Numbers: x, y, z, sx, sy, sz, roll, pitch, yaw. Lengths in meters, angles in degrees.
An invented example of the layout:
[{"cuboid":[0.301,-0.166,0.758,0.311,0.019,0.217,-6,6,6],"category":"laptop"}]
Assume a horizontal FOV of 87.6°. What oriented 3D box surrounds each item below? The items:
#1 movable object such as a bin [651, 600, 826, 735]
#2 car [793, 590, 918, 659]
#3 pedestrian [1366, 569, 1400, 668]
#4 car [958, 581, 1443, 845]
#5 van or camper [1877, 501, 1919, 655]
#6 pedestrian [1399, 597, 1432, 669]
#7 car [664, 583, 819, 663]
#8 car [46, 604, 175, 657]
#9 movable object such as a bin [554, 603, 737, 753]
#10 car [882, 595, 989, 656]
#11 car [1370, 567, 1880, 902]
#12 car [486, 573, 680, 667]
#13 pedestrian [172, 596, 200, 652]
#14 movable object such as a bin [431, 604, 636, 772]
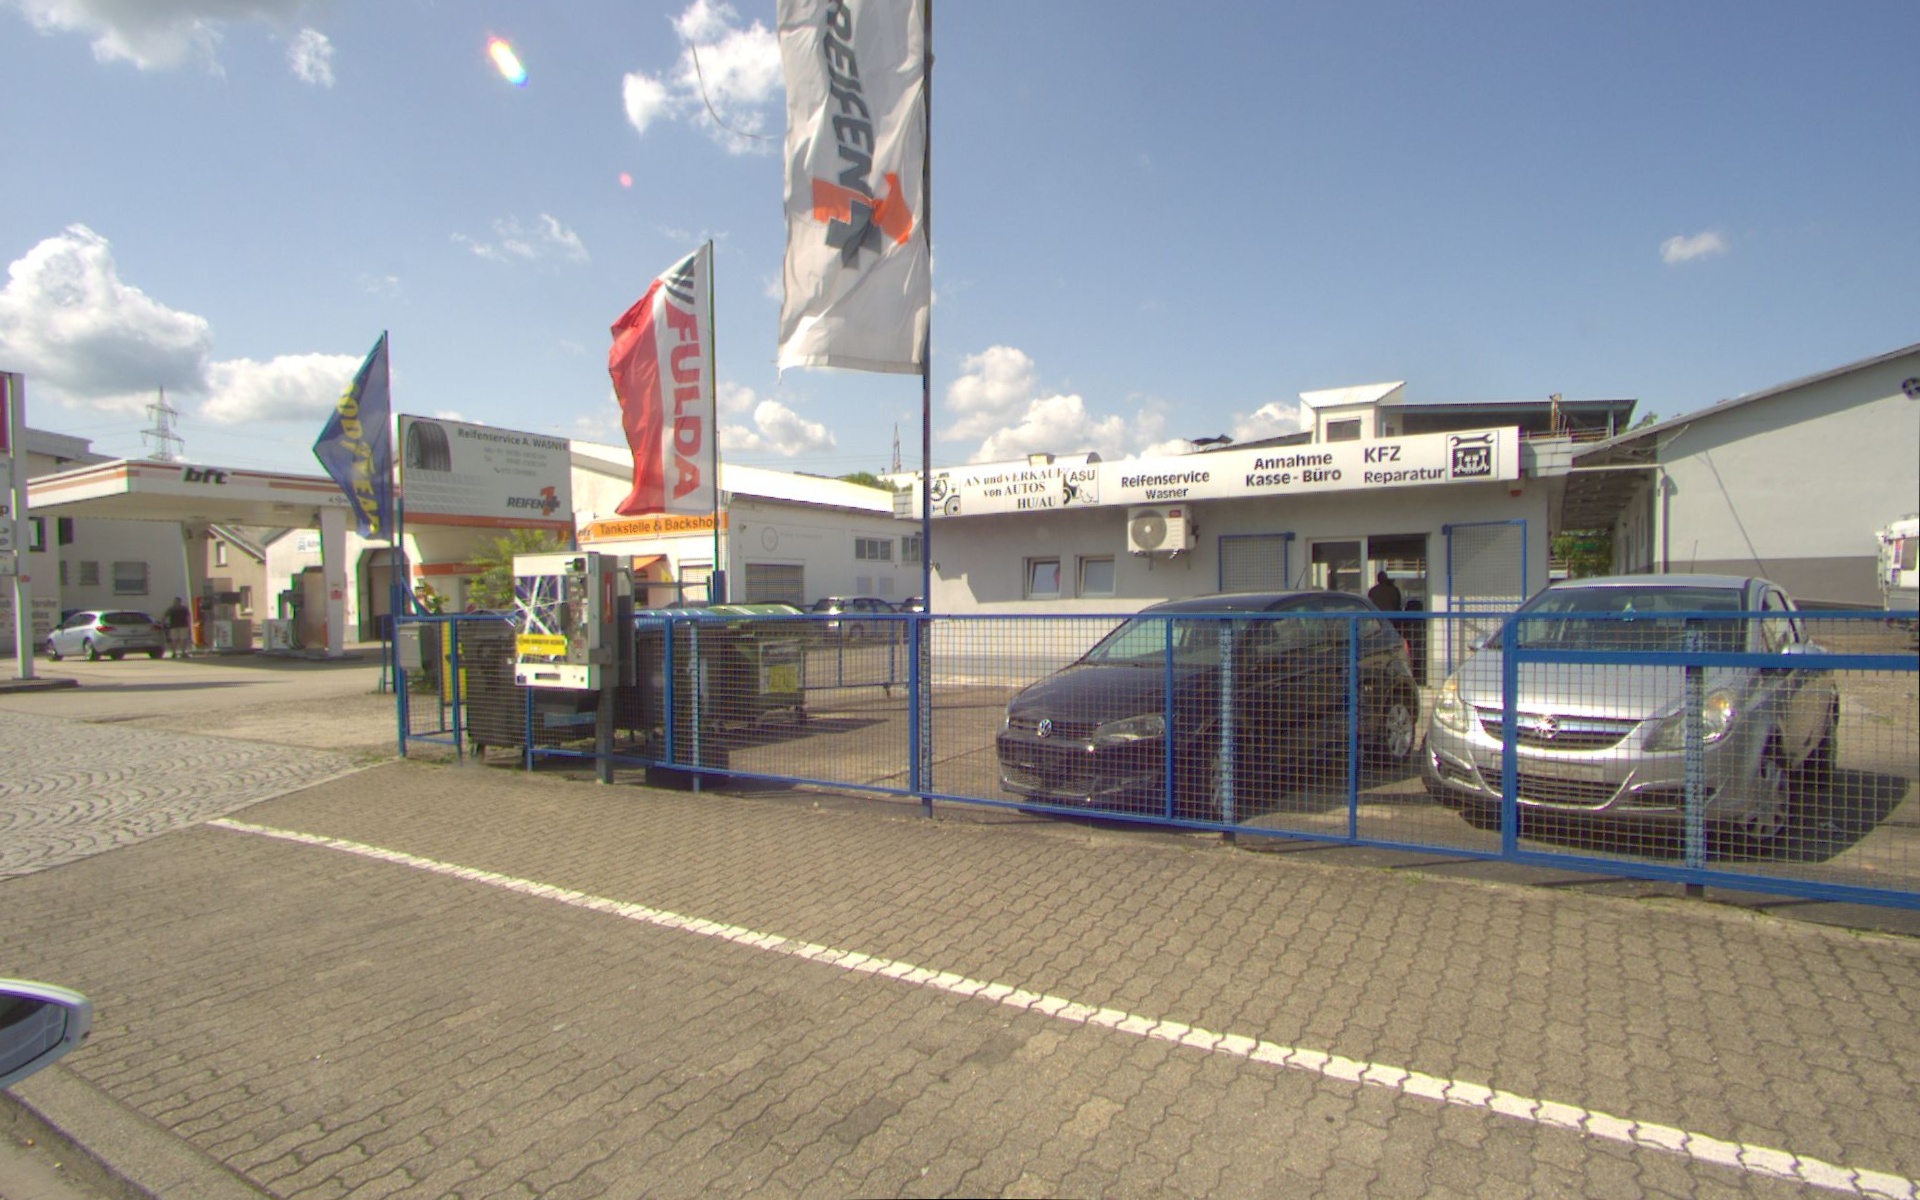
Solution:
[{"cuboid":[-2.608,0.743,11.903,1.433,1.473,1.427,0,1,31],"category":"movable object such as a bin"},{"cuboid":[-3.266,0.727,31.991,1.971,2.040,3.979,0,0,32],"category":"car"},{"cuboid":[7.430,0.326,17.579,0.480,1.710,0.499,0,1,30],"category":"pedestrian"},{"cuboid":[2.012,0.628,7.651,3.962,1.499,1.705,-1,1,-43],"category":"car"},{"cuboid":[21.345,-0.457,19.324,4.983,3.002,2.276,0,1,31],"category":"van or camper"},{"cuboid":[7.977,0.563,17.528,0.480,1.229,0.499,0,1,30],"category":"pedestrian"},{"cuboid":[-5.950,0.571,27.639,1.971,2.040,3.979,0,0,32],"category":"car"},{"cuboid":[-25.836,0.888,30.438,3.950,1.499,1.829,-1,1,31],"category":"car"},{"cuboid":[-3.374,0.776,10.788,1.434,1.473,1.224,0,1,31],"category":"movable object such as a bin"},{"cuboid":[-0.806,0.863,35.880,1.971,2.040,3.979,0,0,32],"category":"car"},{"cuboid":[4.499,0.588,6.515,4.104,1.499,1.787,-1,0,-42],"category":"car"},{"cuboid":[-8.915,0.435,23.985,1.971,2.040,3.979,0,0,32],"category":"car"},{"cuboid":[-23.742,0.728,30.719,0.628,1.705,0.618,-1,1,-36],"category":"pedestrian"},{"cuboid":[-4.135,0.785,9.748,1.434,1.473,1.224,0,1,31],"category":"movable object such as a bin"}]
